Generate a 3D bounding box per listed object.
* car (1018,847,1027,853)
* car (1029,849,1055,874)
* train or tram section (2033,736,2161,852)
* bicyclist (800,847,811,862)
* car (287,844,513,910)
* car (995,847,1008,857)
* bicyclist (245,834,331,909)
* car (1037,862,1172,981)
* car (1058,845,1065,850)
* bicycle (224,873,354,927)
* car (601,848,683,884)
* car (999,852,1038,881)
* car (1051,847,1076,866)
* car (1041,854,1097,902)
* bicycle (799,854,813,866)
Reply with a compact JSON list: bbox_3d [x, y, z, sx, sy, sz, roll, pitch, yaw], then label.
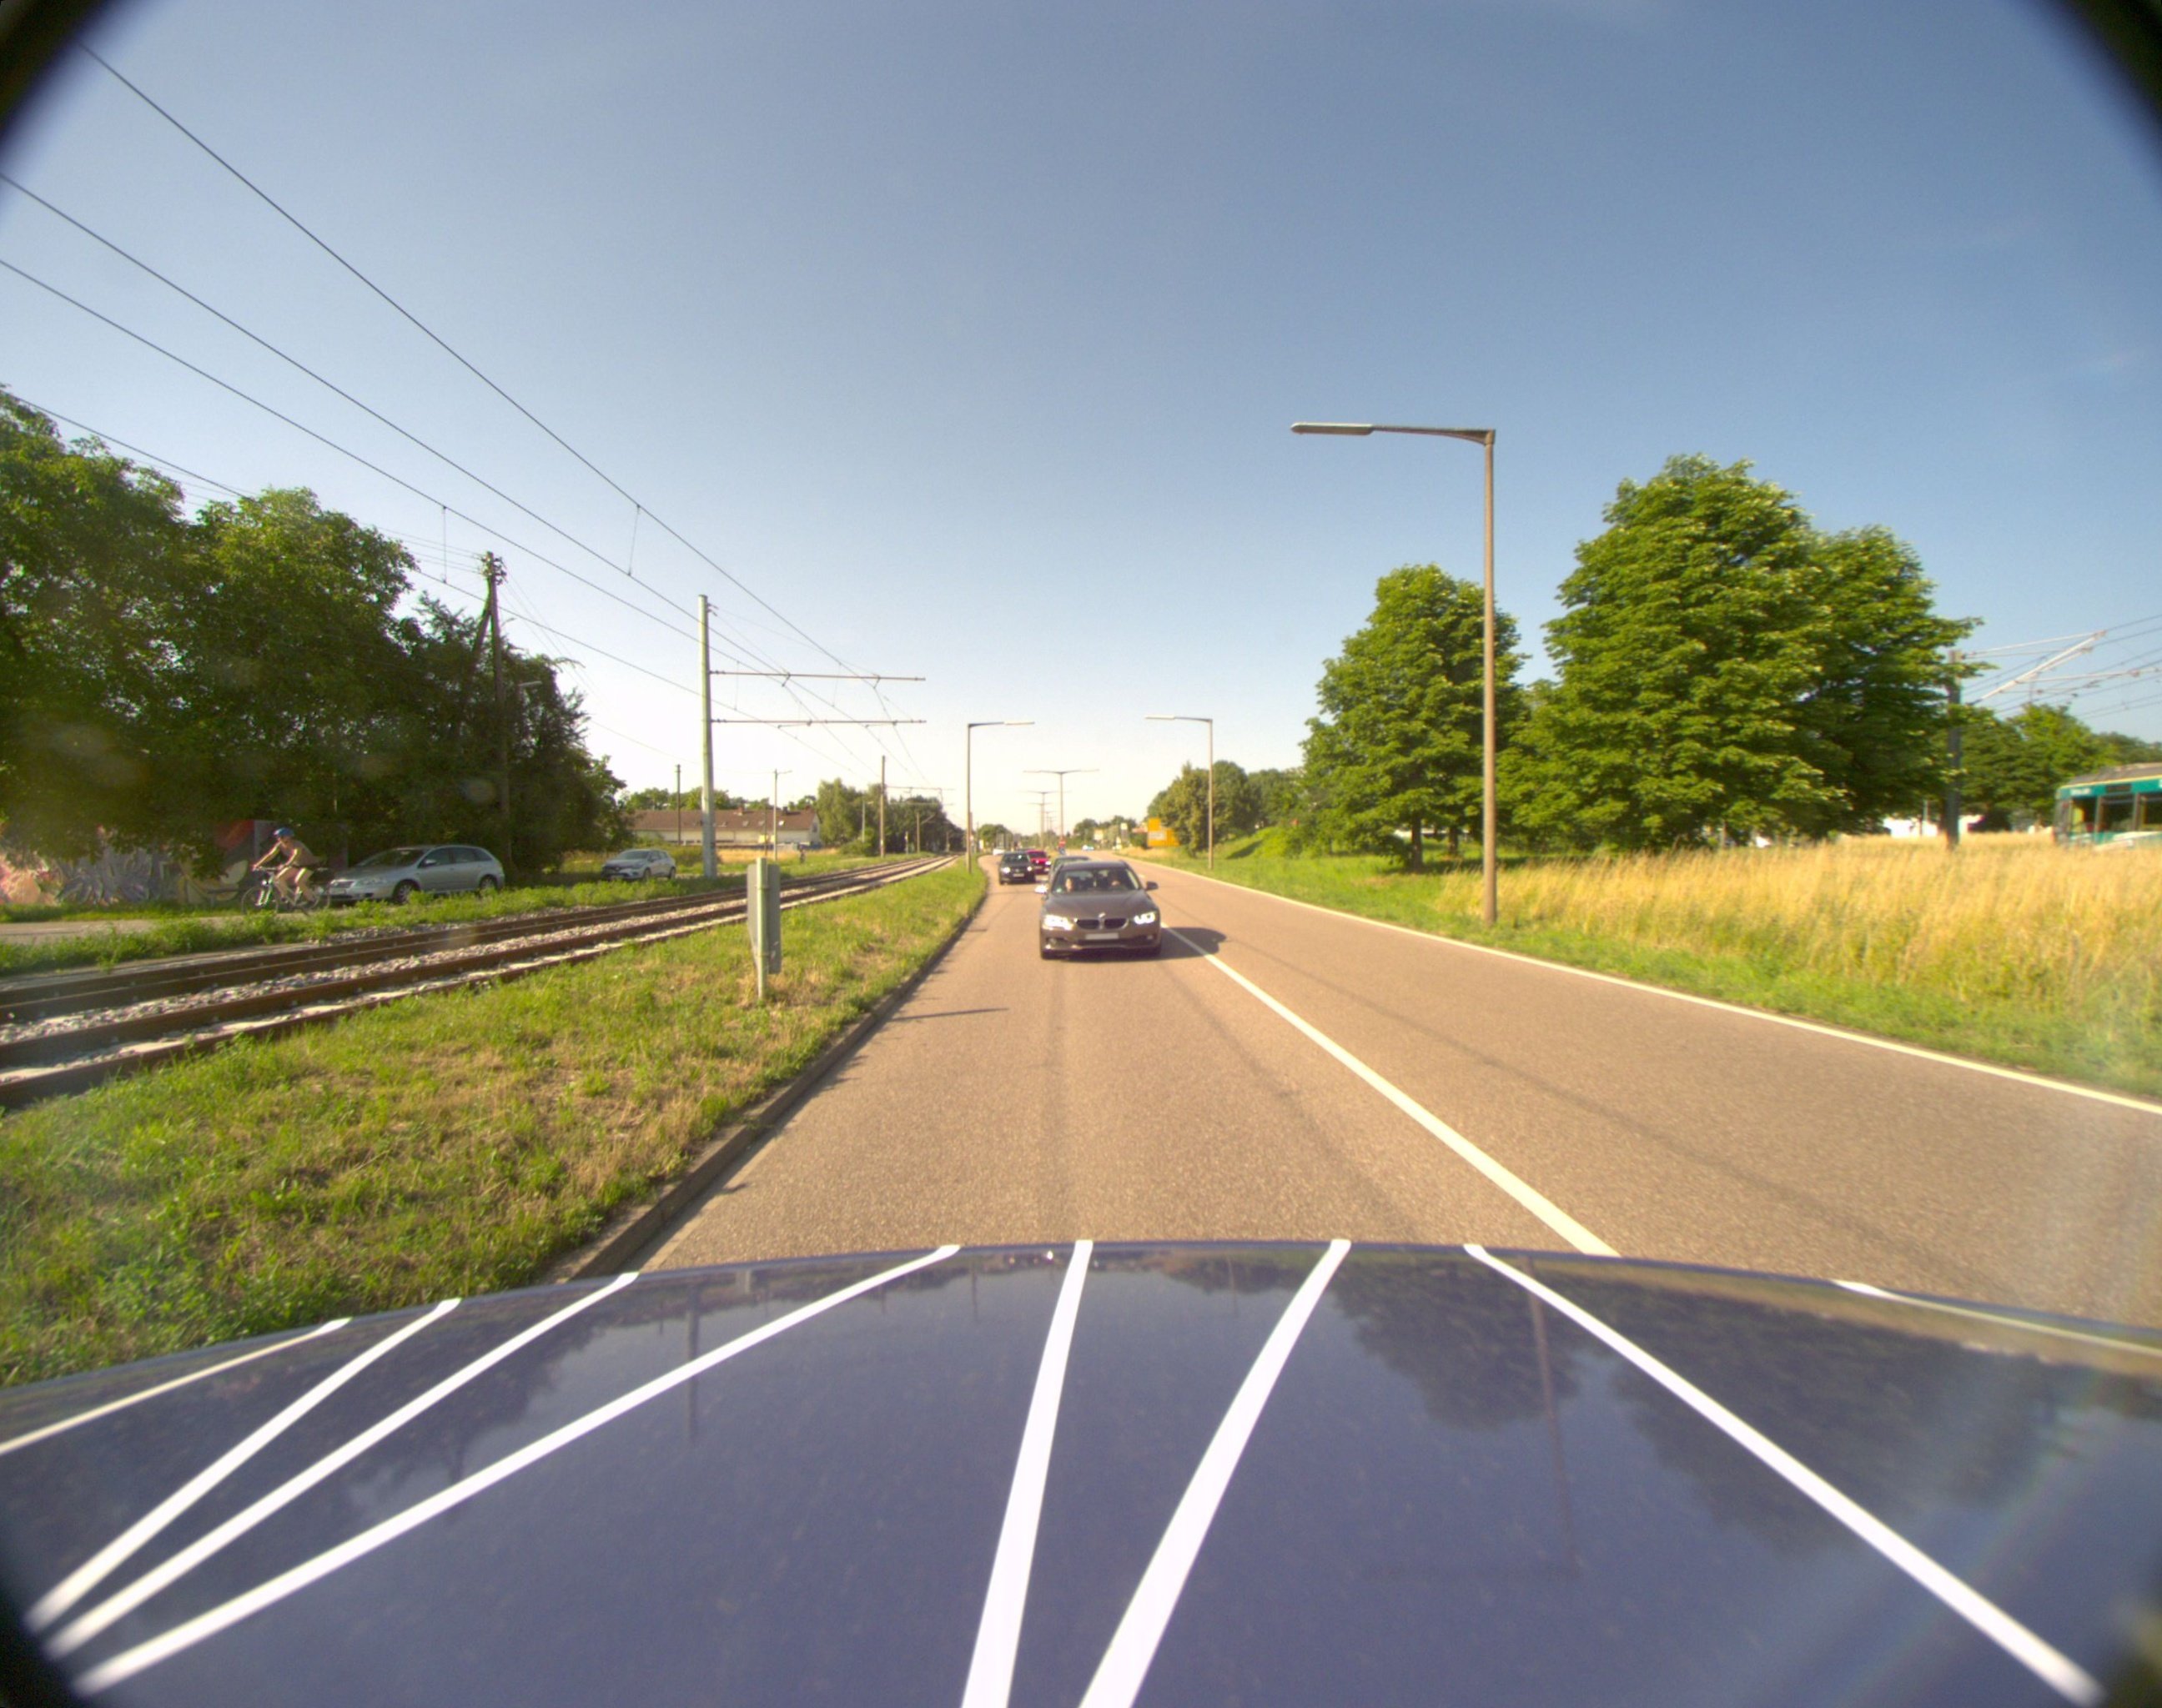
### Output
[{"bbox_3d":[-14.126,-0.958,183.784,1.838,1.504,4.150,-3,1,-8],"label":"car"},{"bbox_3d":[-2.593,0.429,50.026,1.608,1.504,4.266,-2,1,-4],"label":"car"},{"bbox_3d":[33.987,-1.848,22.578,2.952,3.465,12.186,-1,1,30],"label":"train or tram section"},{"bbox_3d":[-23.117,0.057,63.853,0.641,1.226,0.791,-2,1,-5],"label":"bicyclist"},{"bbox_3d":[-18.257,0.539,20.756,1.912,1.581,4.726,0,1,0],"label":"car"},{"bbox_3d":[-12.959,-0.329,124.178,1.969,1.609,4.305,-1,1,-6],"label":"car"},{"bbox_3d":[-15.556,0.332,14.929,0.631,1.414,0.962,-1,1,-2],"label":"bicyclist"},{"bbox_3d":[0.271,0.920,12.086,1.747,1.444,3.945,-2,1,-1],"label":"car"},{"bbox_3d":[-6.117,-1.979,235.314,1.564,1.369,3.382,-3,2,-9],"label":"car"},{"bbox_3d":[-15.546,0.874,14.997,0.644,0.904,1.843,-1,1,-2],"label":"bicycle"},{"bbox_3d":[-18.996,0.474,33.091,1.539,1.440,4.128,0,1,-7],"label":"car"},{"bbox_3d":[-3.179,0.610,39.073,1.848,1.347,4.152,-2,1,-4],"label":"car"},{"bbox_3d":[-1.580,0.199,66.955,1.969,1.504,4.806,-1,1,-4],"label":"car"},{"bbox_3d":[-0.357,0.746,26.126,1.711,1.444,4.589,-2,0,0],"label":"car"},{"bbox_3d":[-23.102,0.511,63.835,0.644,0.904,1.812,-2,1,-4],"label":"bicycle"}]
